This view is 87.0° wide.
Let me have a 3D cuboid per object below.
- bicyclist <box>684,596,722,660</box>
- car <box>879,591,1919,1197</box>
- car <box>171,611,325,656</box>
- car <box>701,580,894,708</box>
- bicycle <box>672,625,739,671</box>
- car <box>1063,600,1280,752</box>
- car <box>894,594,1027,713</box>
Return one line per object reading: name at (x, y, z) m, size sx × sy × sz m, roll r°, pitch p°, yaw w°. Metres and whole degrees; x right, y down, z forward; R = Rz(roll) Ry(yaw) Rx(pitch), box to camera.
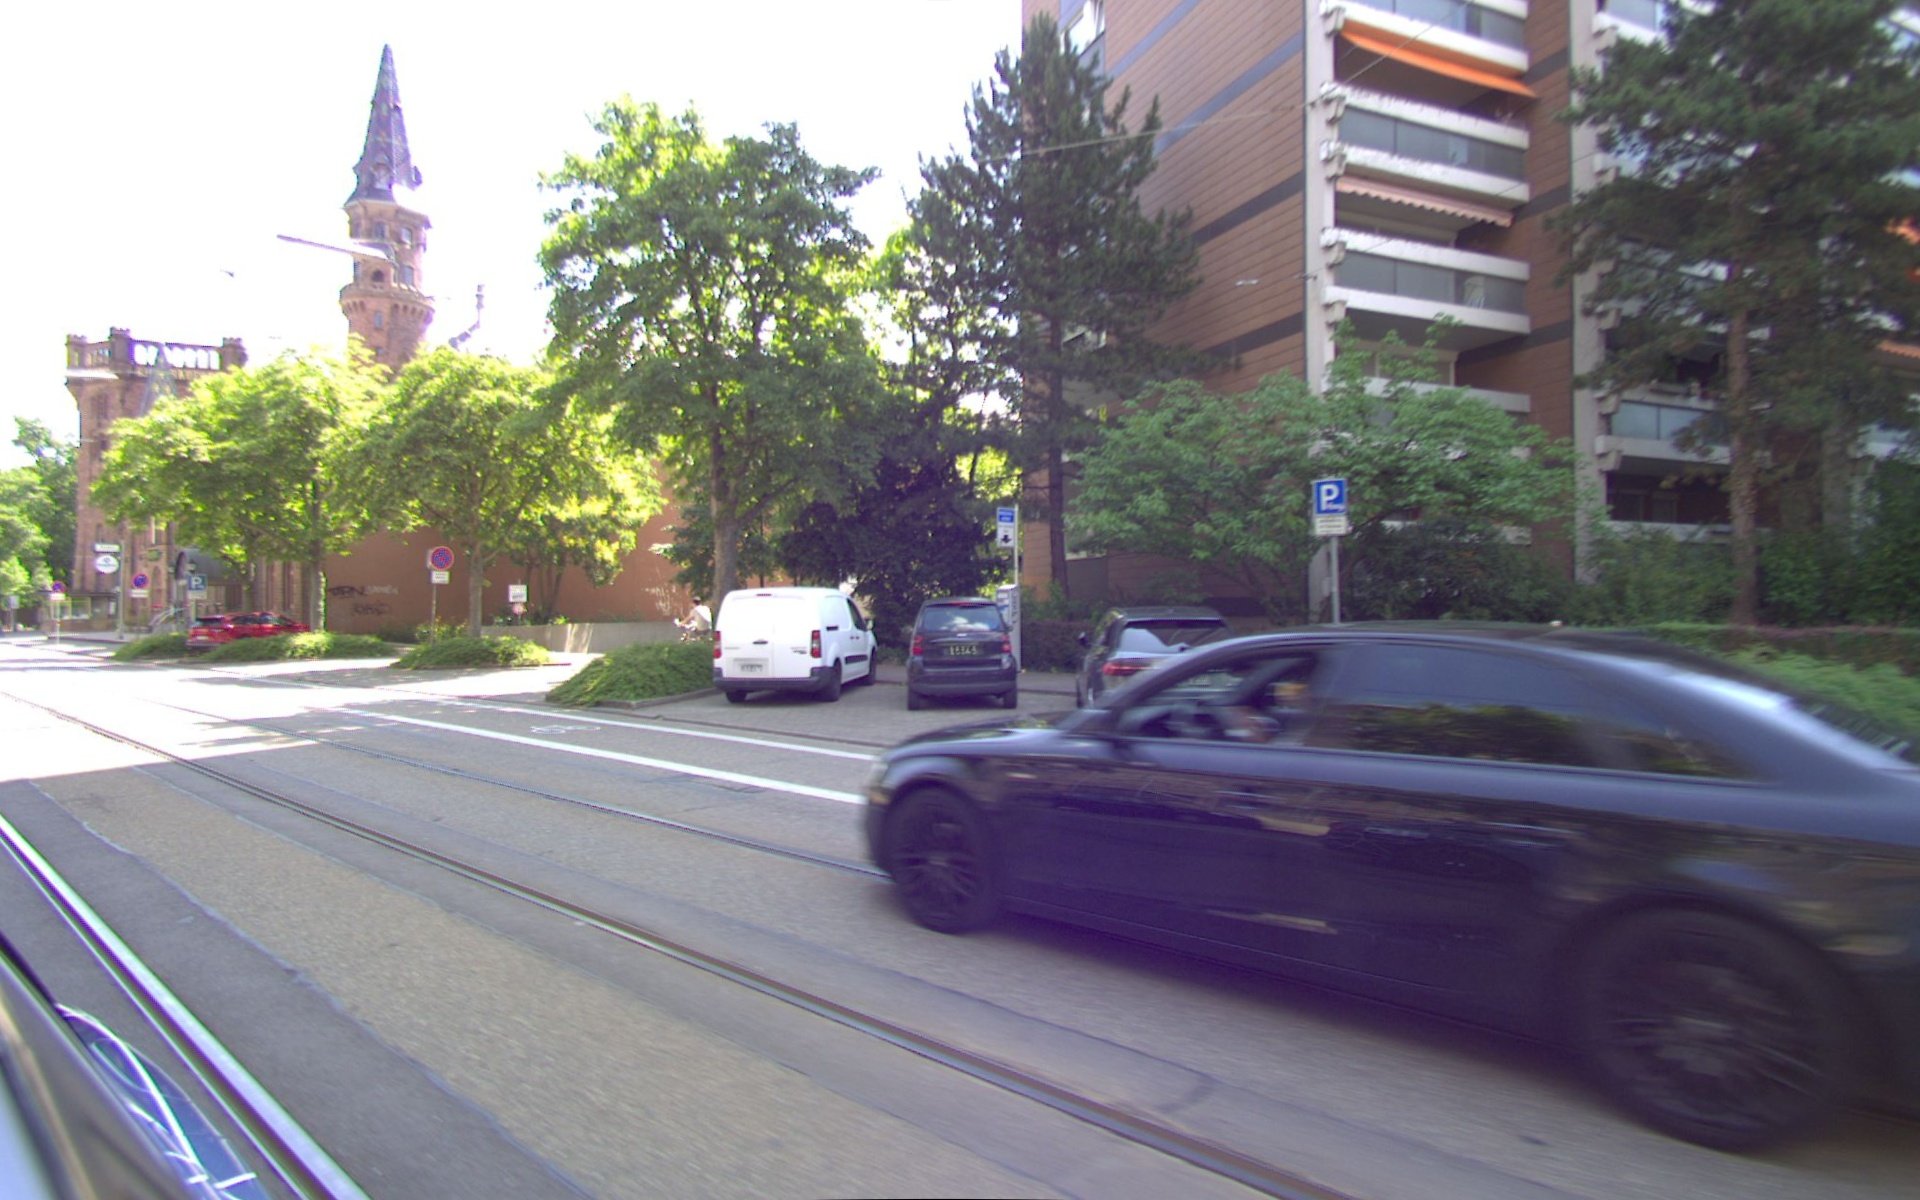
bicyclist at (-6.184, 0.671, 24.370) m, size 0.780 × 1.492 × 0.476 m, roll -2°, pitch 0°, yaw 39°
car at (1.794, 0.720, 3.940) m, size 4.286 × 1.408 × 1.755 m, roll -1°, pitch -2°, yaw 42°
car at (-26.985, 1.231, 38.594) m, size 1.981 × 1.578 × 4.762 m, roll -1°, pitch 0°, yaw 12°
car at (-2.505, 0.623, 16.848) m, size 1.879 × 1.804 × 4.537 m, roll -2°, pitch 0°, yaw 8°
bicycle at (-6.147, 1.134, 24.360) m, size 1.874 × 1.054 × 0.513 m, roll -1°, pitch 0°, yaw 39°
car at (2.284, 0.748, 12.082) m, size 1.749 × 1.405 × 4.445 m, roll -2°, pitch 0°, yaw 2°
car at (-0.033, 0.710, 15.578) m, size 1.747 × 1.544 × 3.951 m, roll -2°, pitch 0°, yaw -1°
